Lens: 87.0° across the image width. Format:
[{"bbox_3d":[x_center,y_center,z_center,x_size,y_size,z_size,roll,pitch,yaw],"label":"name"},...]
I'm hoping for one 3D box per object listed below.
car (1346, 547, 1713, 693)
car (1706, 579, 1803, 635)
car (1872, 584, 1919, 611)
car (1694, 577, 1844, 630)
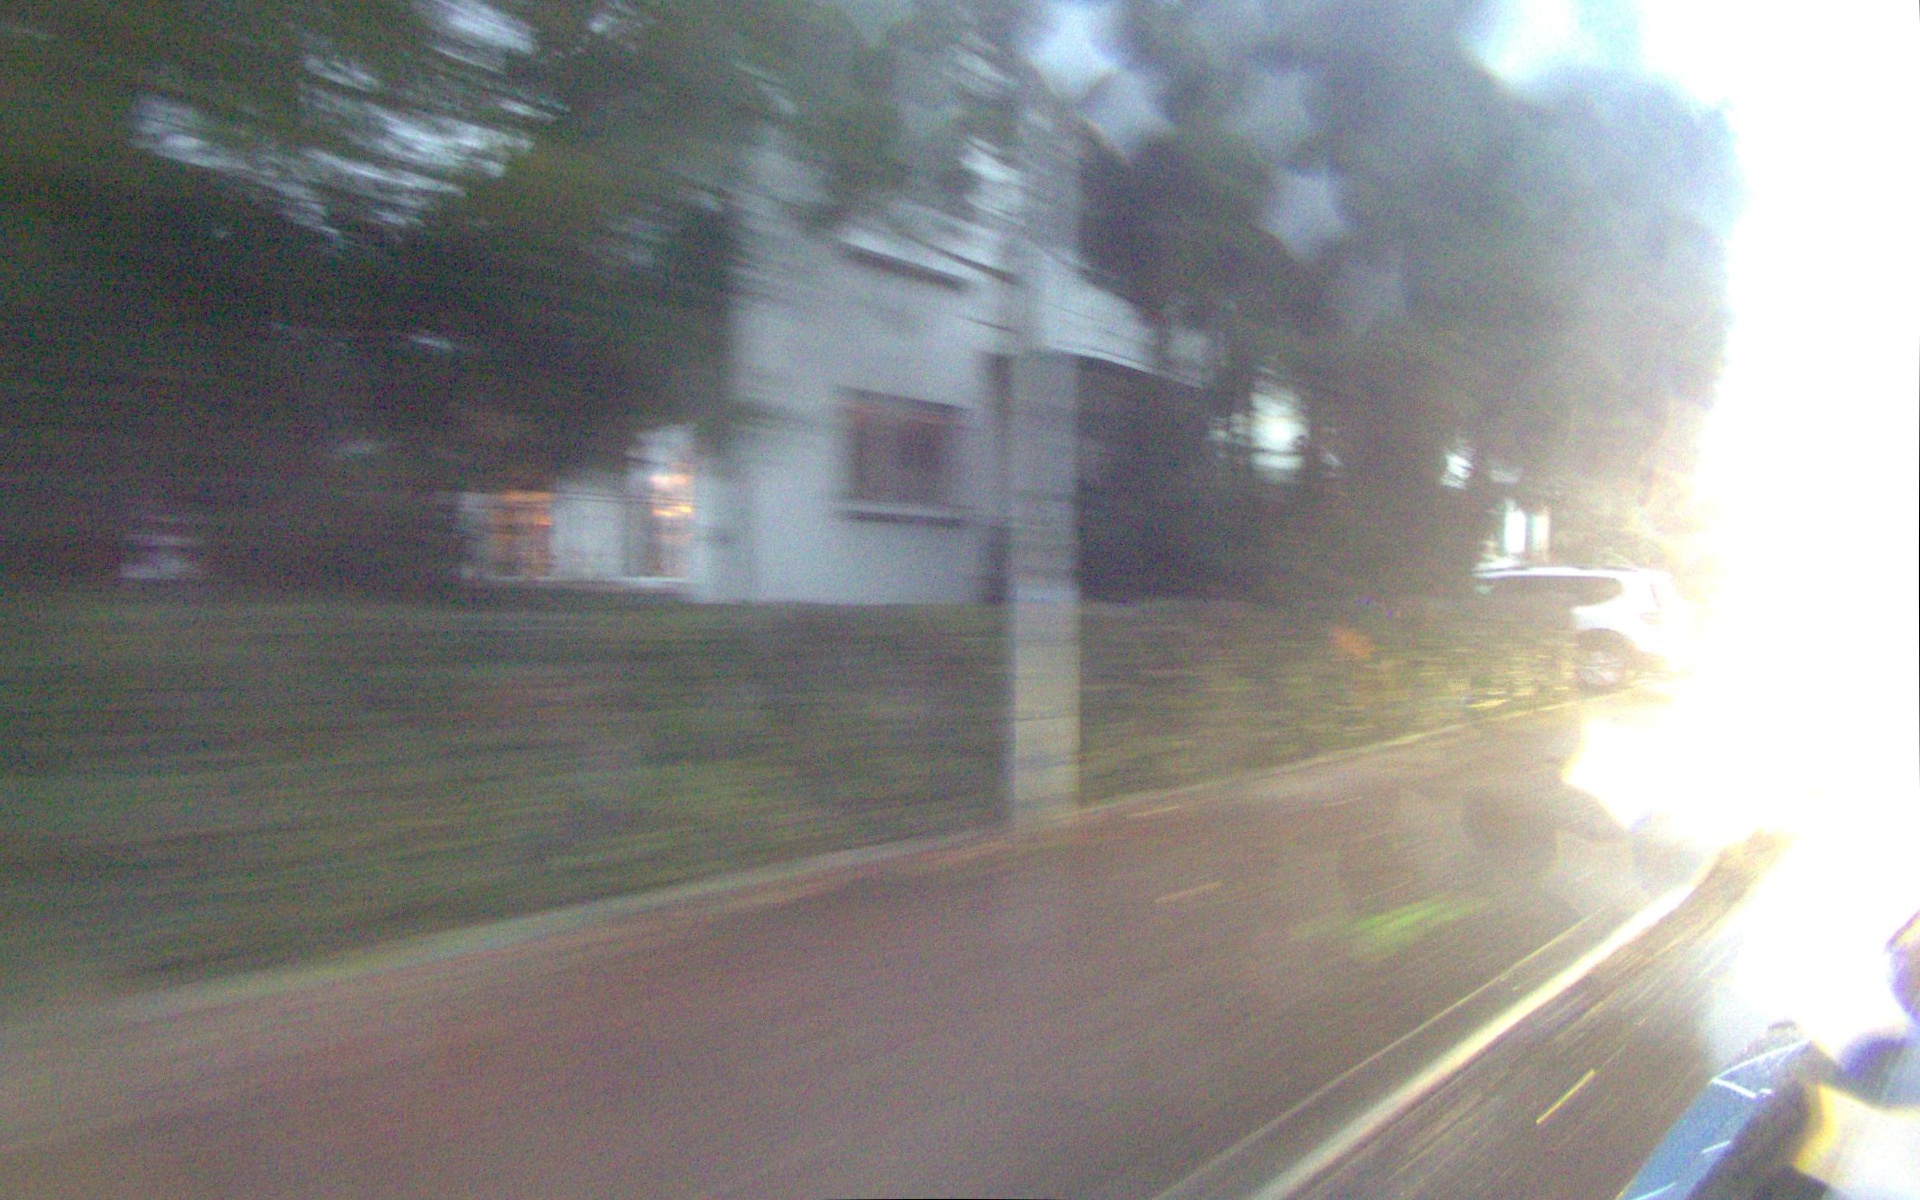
[{"bbox_3d":[8.233,0.169,14.888,4.323,1.753,1.969,4,3,43],"label":"car"},{"bbox_3d":[24.537,0.164,31.196,1.893,1.574,4.680,1,1,44],"label":"car"},{"bbox_3d":[59.077,-0.176,63.900,1.766,1.638,3.822,-1,1,36],"label":"car"},{"bbox_3d":[28.655,0.089,35.912,4.099,1.727,1.970,0,2,42],"label":"car"}]
